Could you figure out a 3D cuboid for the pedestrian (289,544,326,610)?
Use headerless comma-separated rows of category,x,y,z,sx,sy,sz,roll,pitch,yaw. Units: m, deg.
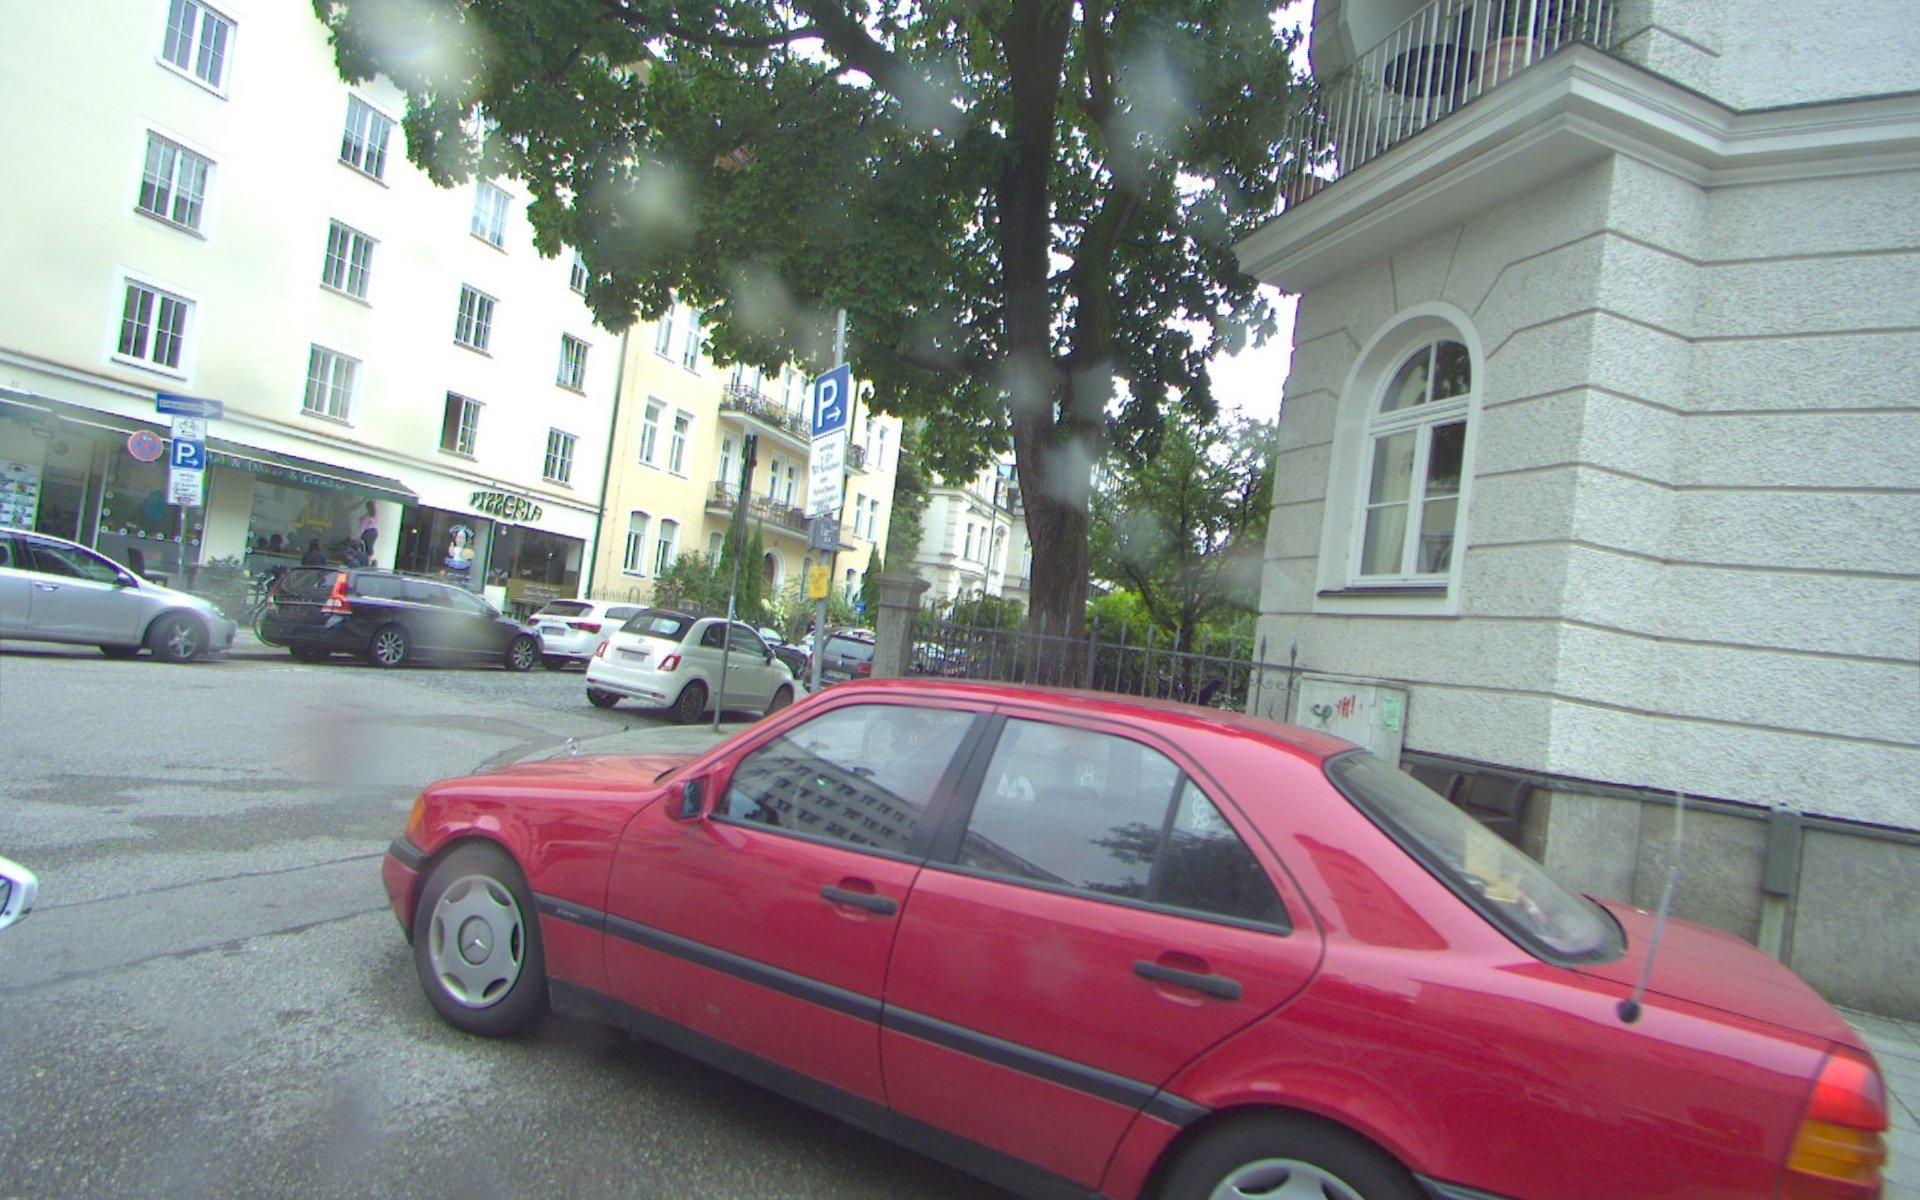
pedestrian,-15.015,-0.523,23.154,0.508,1.450,0.579,8,-1,-29

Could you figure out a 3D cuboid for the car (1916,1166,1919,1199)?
car,3.887,1.296,0.996,3.840,1.513,1.756,7,-2,26

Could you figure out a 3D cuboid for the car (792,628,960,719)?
car,-1.534,1.480,20.074,1.675,1.423,4.204,7,-2,19

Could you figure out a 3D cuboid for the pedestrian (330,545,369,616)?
pedestrian,-14.067,-0.454,23.194,0.552,1.555,0.431,9,0,-28

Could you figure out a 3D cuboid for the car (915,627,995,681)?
car,-0.124,2.203,40.085,1.781,1.792,4.004,7,-2,19

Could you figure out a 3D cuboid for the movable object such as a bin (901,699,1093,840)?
movable object such as a bin,0.314,1.320,8.118,1.197,0.875,0.903,7,-2,27

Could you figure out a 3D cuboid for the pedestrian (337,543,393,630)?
pedestrian,-12.518,-0.268,21.171,0.533,1.722,0.604,9,0,21

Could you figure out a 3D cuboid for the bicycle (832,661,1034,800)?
bicycle,-0.270,1.172,9.290,1.773,1.051,0.482,4,-2,28

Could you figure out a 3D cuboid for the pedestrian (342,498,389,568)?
pedestrian,-14.479,-1.629,24.519,0.567,1.592,0.555,7,-3,19

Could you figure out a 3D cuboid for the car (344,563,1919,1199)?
car,0.102,0.894,3.312,4.141,1.451,1.674,7,-3,29

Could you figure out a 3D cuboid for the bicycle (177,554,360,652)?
bicycle,-11.234,0.086,16.452,1.086,1.267,2.092,8,-3,20

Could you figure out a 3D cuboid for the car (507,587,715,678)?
car,-7.257,0.774,21.452,1.787,1.519,4.355,5,-4,19

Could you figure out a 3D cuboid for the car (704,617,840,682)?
car,-4.979,1.383,27.233,1.777,1.465,4.005,3,-4,19

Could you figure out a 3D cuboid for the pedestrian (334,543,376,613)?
pedestrian,-14.300,-0.518,23.795,0.525,1.569,0.435,7,-1,2

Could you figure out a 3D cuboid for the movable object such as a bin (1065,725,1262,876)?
movable object such as a bin,1.565,1.475,7.665,1.197,0.853,0.903,7,-2,27

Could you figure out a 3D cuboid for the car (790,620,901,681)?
car,-3.541,1.645,31.867,1.721,1.656,4.003,4,-3,21

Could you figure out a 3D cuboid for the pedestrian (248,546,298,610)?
pedestrian,-15.142,-0.468,22.187,0.572,1.312,0.513,7,-1,-2

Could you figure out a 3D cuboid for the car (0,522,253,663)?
car,-11.265,-0.125,12.149,1.791,1.431,3.997,2,-5,30

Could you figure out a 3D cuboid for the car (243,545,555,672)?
car,-9.087,0.258,16.790,1.787,1.609,4.355,5,-3,19

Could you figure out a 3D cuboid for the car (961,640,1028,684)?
car,1.583,2.796,44.832,1.698,1.639,4.004,7,-2,19

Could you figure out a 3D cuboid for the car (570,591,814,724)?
car,-3.743,0.877,14.629,1.598,1.504,3.334,8,-2,22
